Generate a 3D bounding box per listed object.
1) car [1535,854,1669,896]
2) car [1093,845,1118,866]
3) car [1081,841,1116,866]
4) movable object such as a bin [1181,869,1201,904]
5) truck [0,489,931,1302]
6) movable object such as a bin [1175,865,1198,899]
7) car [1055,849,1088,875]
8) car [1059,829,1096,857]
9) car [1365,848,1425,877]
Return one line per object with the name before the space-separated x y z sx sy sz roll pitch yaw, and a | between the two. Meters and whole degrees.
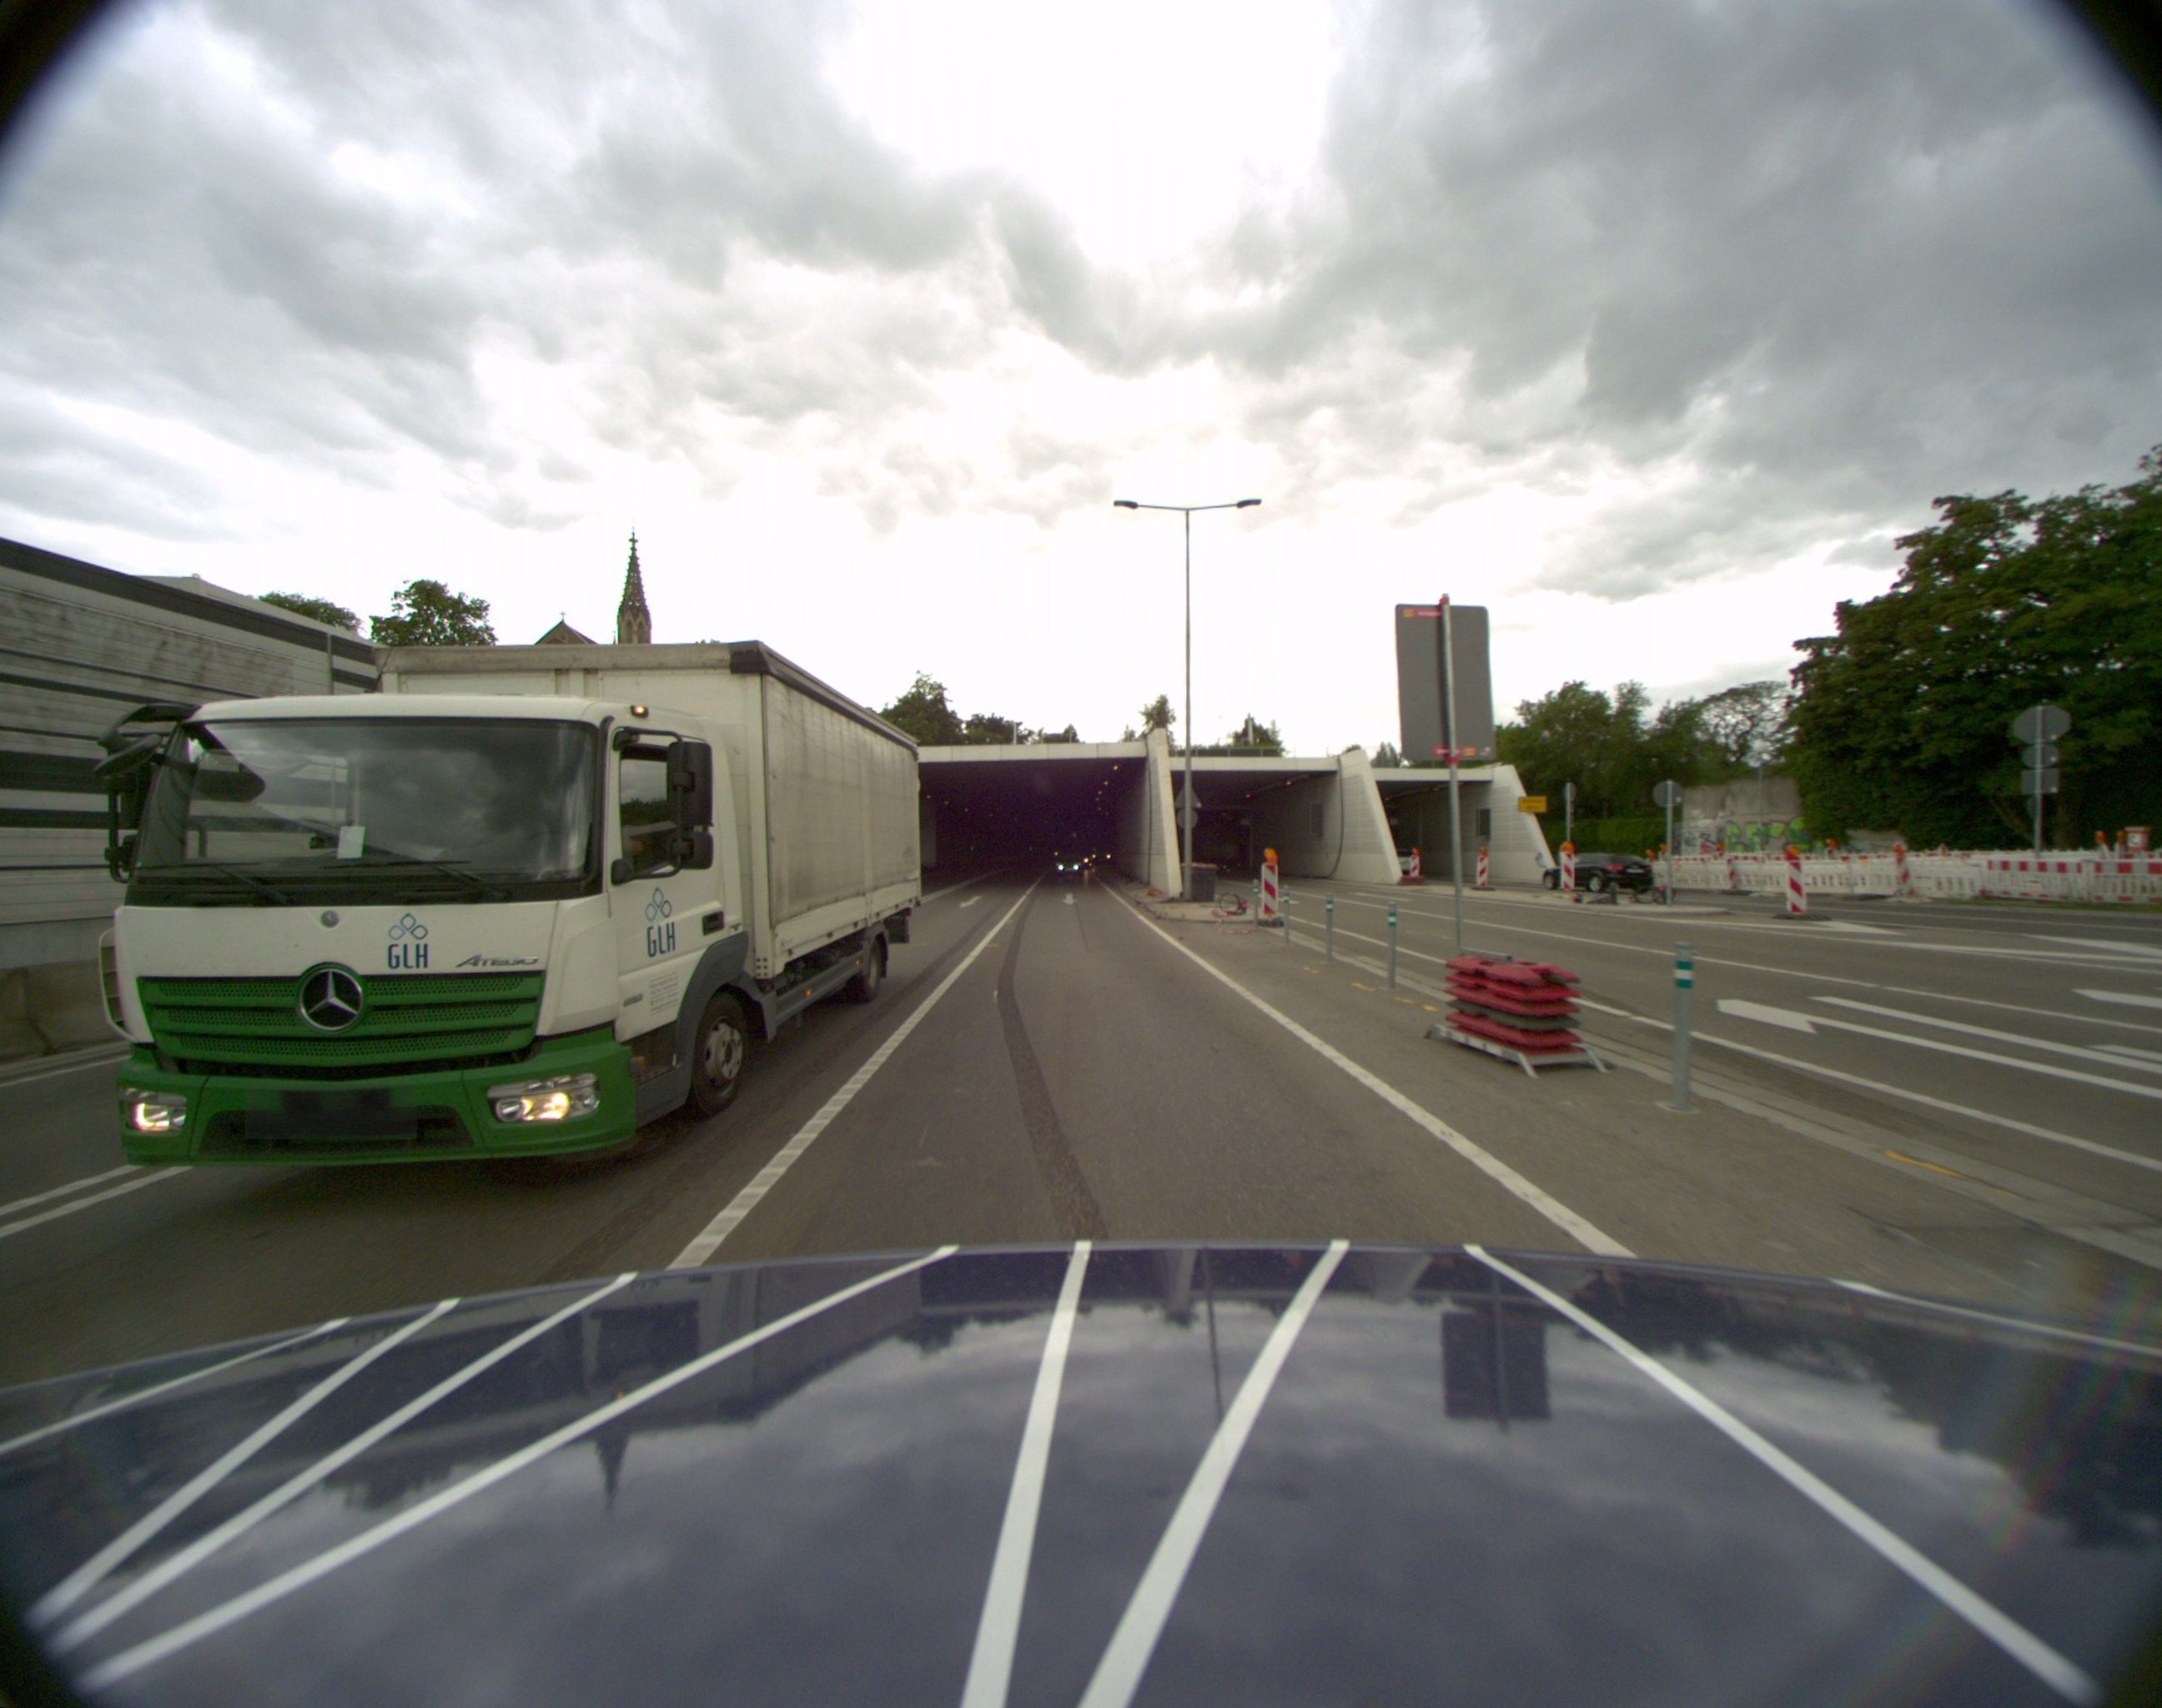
car | 18.673 0.691 27.510 1.868 1.342 4.194 -1 0 -2
car | 2.526 0.140 78.620 1.997 2.002 4.003 -1 0 10
car | 1.463 -0.033 61.798 2.374 1.914 5.200 -1 0 6
movable object such as a bin | 3.313 0.978 22.887 0.490 1.011 0.423 -2 1 -6
truck | -3.371 0.134 6.787 2.637 3.220 7.413 -2 1 -1
movable object such as a bin | 3.240 0.855 23.380 0.554 1.003 0.546 -2 1 -5
car | -0.516 0.456 45.937 1.721 1.455 4.000 0 1 3
car | -0.277 -1.079 78.356 2.558 2.752 7.355 0 1 9
car | 19.118 0.502 46.432 1.852 1.652 4.375 -1 0 1
